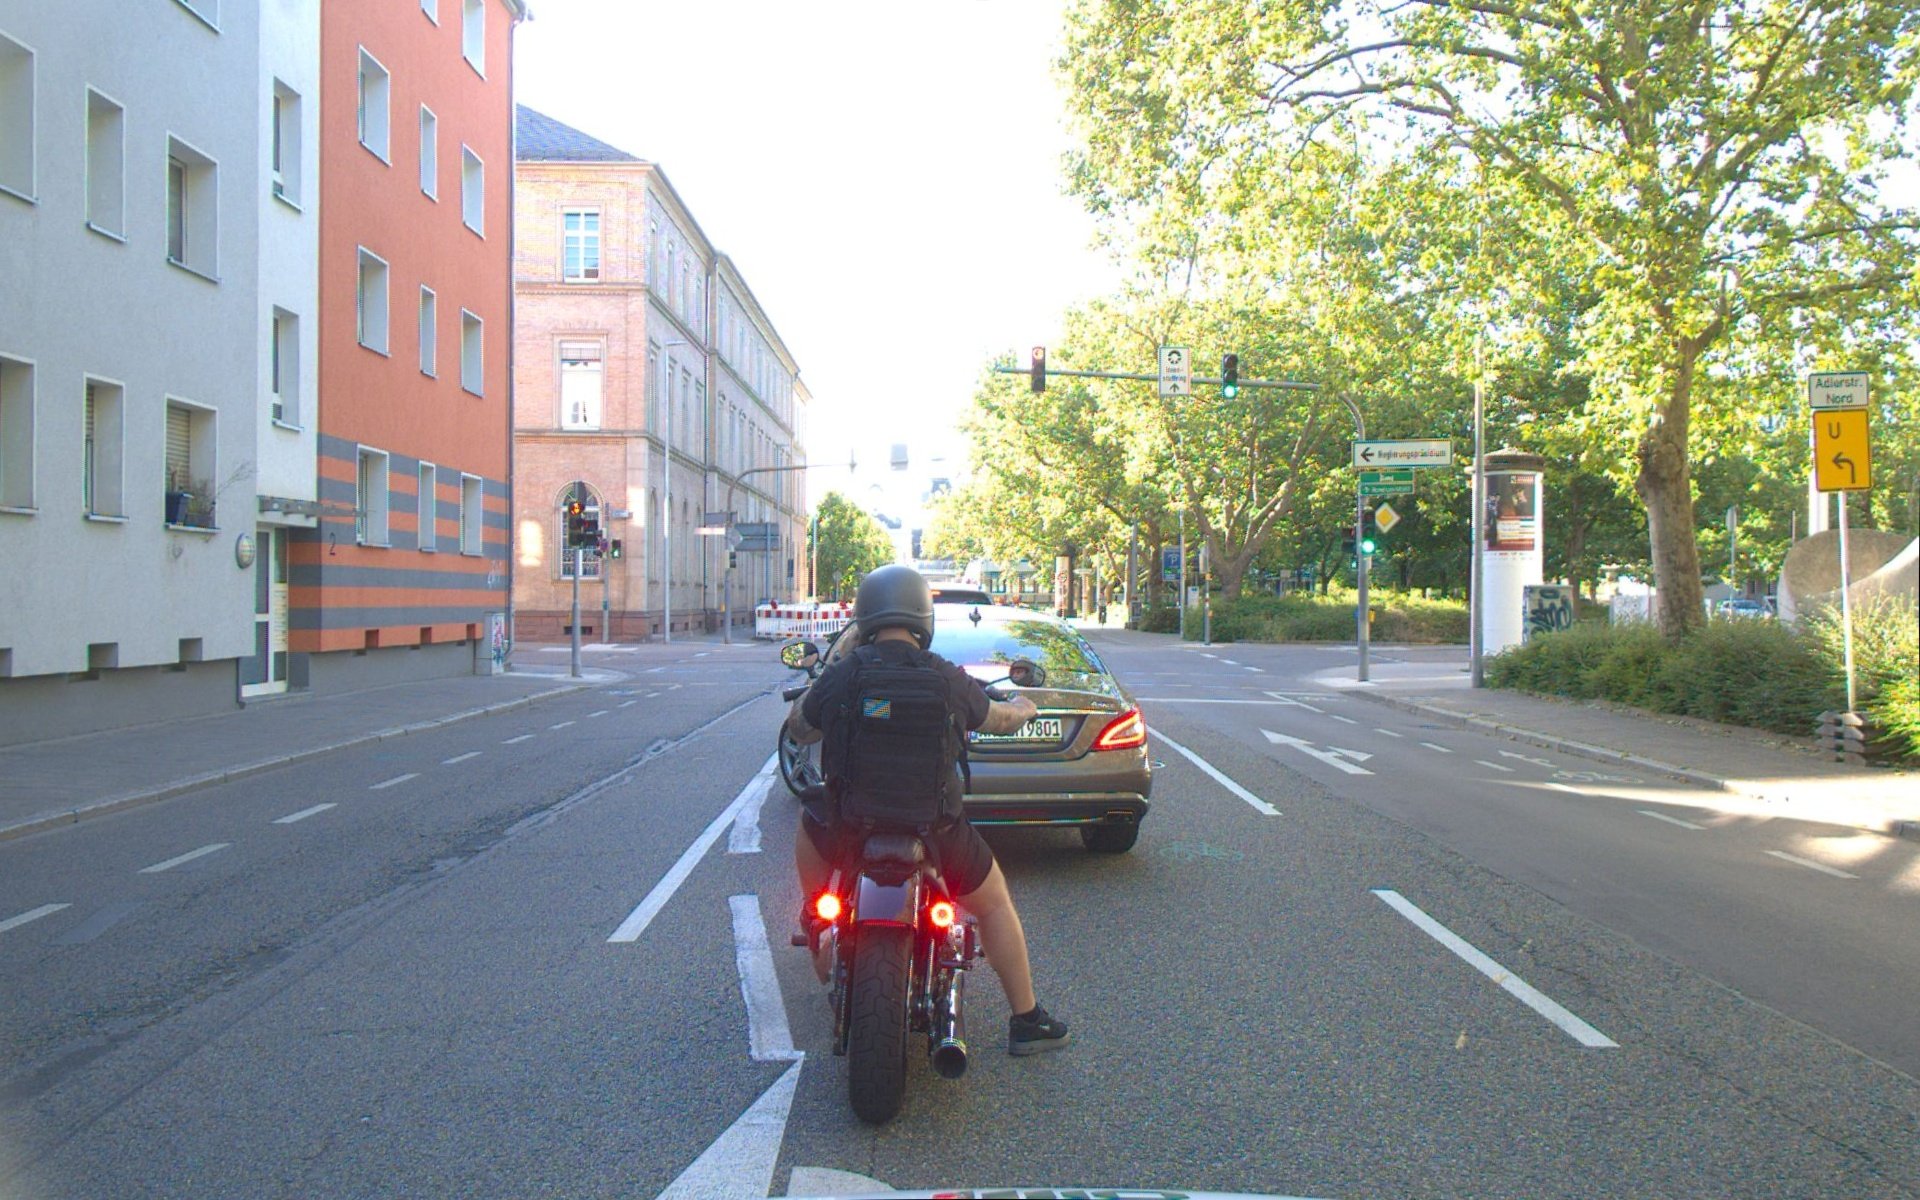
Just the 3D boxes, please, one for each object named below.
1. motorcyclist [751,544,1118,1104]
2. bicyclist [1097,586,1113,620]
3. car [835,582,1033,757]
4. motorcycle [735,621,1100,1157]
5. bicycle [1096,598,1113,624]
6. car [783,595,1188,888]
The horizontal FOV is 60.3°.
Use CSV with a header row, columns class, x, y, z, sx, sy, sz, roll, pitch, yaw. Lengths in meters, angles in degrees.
class,x,y,z,sx,sy,sz,roll,pitch,yaw
motorcyclist,-0.078,0.654,5.261,1.039,1.610,0.908,1,0,-1
bicyclist,6.974,0.129,79.742,0.701,1.610,0.936,1,0,2
car,-0.343,0.613,16.760,1.777,1.563,3.846,0,0,-3
motorcycle,-0.128,0.779,5.529,0.942,1.380,2.319,1,0,-1
bicycle,6.961,0.533,79.833,0.701,1.193,2.177,1,0,3
car,-0.072,0.707,10.600,1.867,1.466,4.279,0,0,-9
